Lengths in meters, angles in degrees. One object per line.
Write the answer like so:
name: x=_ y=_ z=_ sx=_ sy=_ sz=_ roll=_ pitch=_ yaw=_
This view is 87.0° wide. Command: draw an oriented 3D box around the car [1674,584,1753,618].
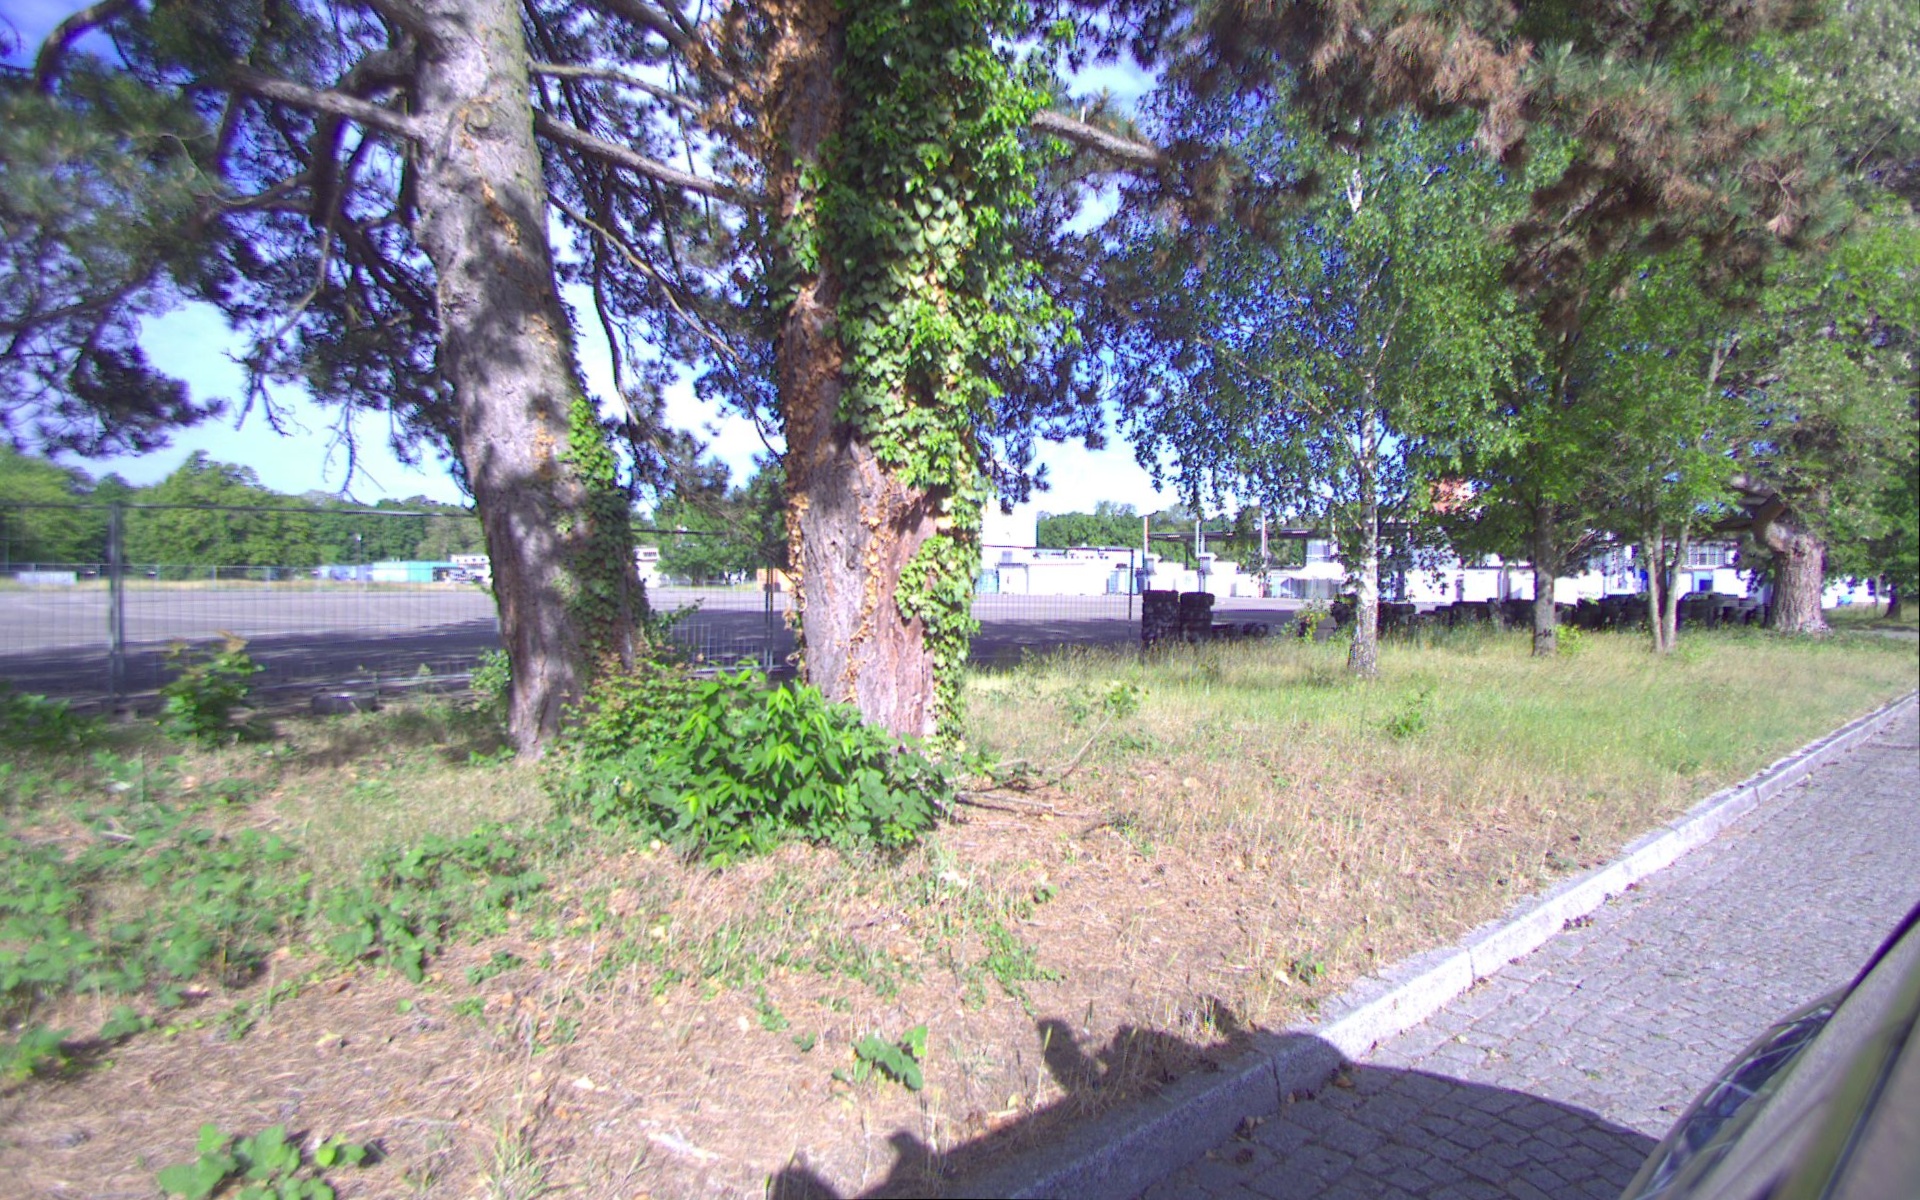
car: x=35.025 y=0.025 z=47.022 sx=3.924 sy=1.467 sz=1.848 roll=0 pitch=1 yaw=-36
